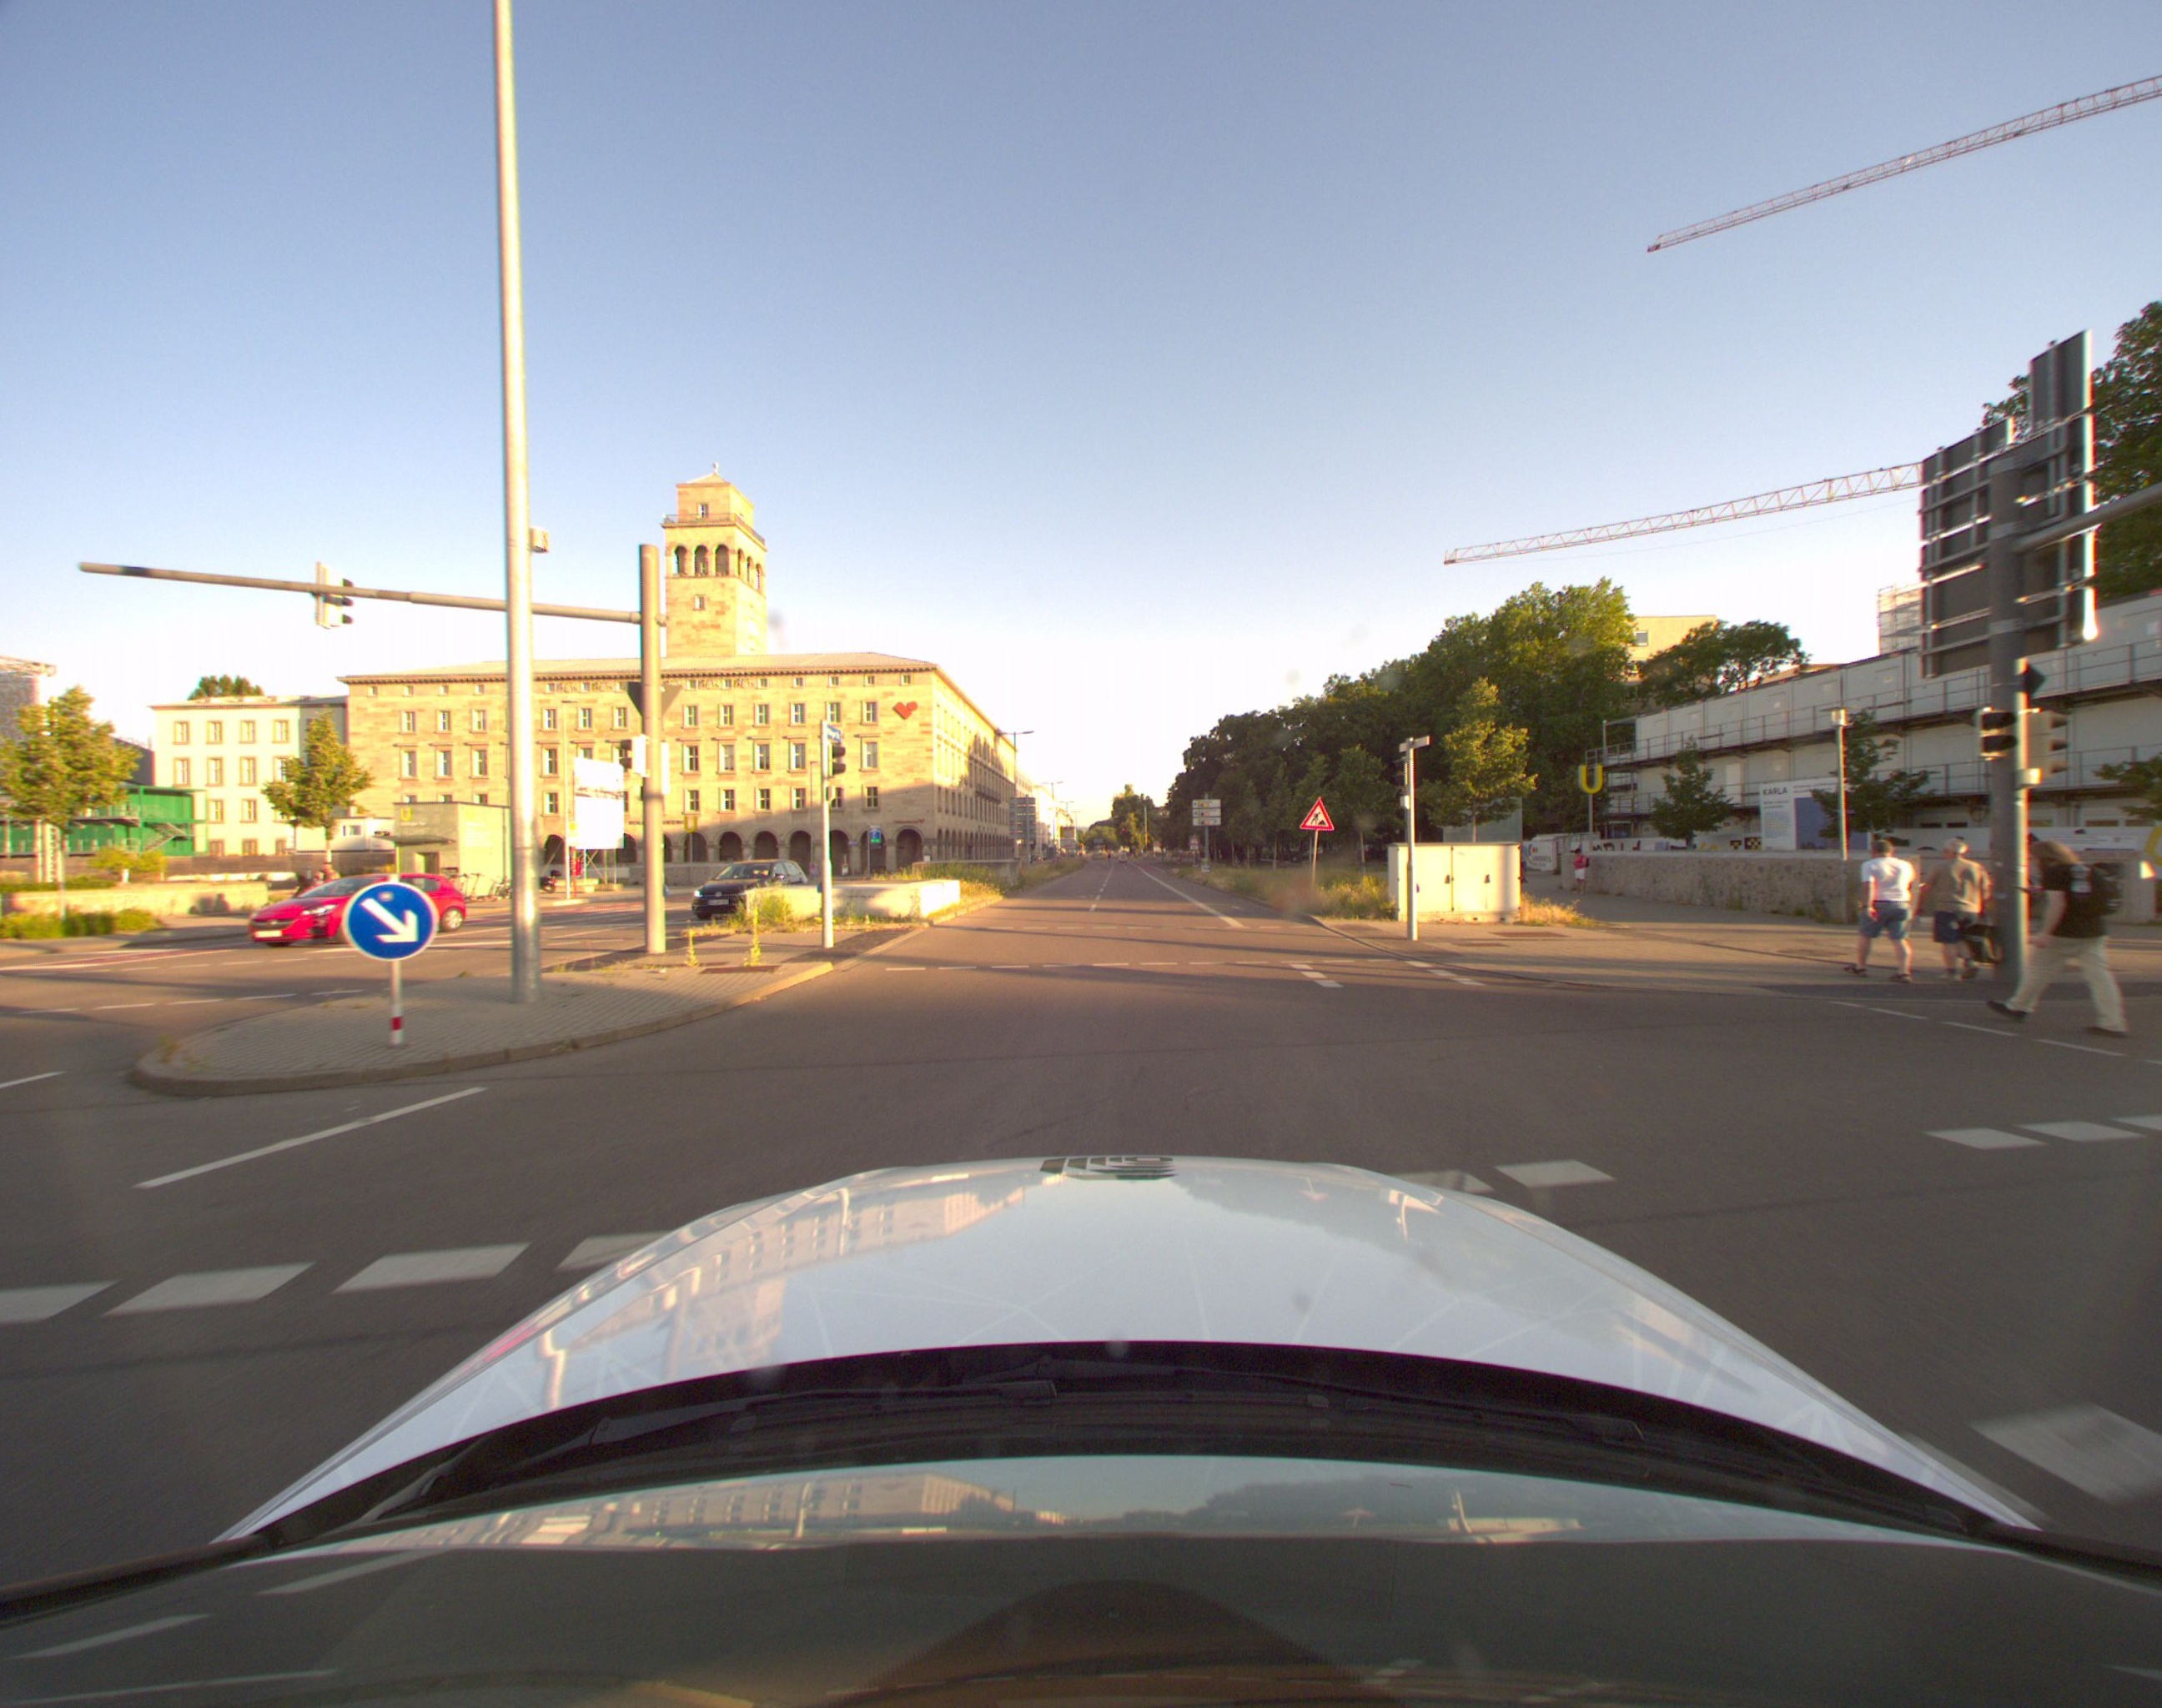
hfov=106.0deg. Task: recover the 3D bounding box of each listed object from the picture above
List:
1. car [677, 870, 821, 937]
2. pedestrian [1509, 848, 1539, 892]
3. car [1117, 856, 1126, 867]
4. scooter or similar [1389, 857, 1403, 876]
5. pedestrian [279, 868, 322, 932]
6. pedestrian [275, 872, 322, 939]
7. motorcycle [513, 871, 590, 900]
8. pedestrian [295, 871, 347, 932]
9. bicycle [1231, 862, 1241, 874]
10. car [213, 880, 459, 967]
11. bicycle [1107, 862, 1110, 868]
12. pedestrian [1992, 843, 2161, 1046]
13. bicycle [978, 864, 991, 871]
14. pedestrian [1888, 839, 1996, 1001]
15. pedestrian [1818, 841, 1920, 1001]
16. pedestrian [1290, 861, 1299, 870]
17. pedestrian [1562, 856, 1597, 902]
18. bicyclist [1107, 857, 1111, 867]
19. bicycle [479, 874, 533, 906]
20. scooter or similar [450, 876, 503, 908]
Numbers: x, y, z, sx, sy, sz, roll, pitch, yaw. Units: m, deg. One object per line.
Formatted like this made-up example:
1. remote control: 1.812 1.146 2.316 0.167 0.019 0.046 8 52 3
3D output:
1. car: -8.611 1.228 21.625 1.880 1.466 4.538 -1 0 1
2. pedestrian: 18.746 0.675 34.482 0.810 1.815 1.049 -1 1 7
3. car: 6.812 1.244 137.727 1.453 1.781 2.567 -1 0 4
4. scooter or similar: 20.936 0.802 54.152 0.422 1.220 1.399 -4 0 3
5. pedestrian: -24.235 1.407 25.309 0.656 1.933 0.648 -1 0 3
6. pedestrian: -23.406 1.521 24.377 0.628 1.933 0.776 1 1 3
7. motorcycle: -26.357 1.560 40.559 3.222 1.383 0.840 0 -1 -1
8. pedestrian: -23.536 1.459 25.233 0.868 1.837 0.776 -1 0 3
9. bicycle: 14.064 1.233 73.870 0.490 1.005 1.908 -4 -1 22
10. car: -15.910 1.403 17.732 1.629 1.526 4.000 -1 0 0
11. bicycle: 4.819 1.979 142.554 0.635 1.069 2.070 -1 0 2
12. pedestrian: 8.659 0.725 7.016 0.640 1.627 0.871 -1 1 0
13. bicycle: -13.152 1.834 111.241 0.472 1.005 2.018 -1 0 38
14. pedestrian: 10.653 0.796 10.095 0.639 1.933 0.620 -1 0 4
15. pedestrian: 9.829 0.812 10.183 0.639 1.933 0.620 -1 0 4
16. pedestrian: 22.421 1.238 85.642 0.681 0.884 0.619 -1 0 -20
17. pedestrian: 16.695 0.841 27.282 0.757 1.490 0.645 -1 1 1
18. bicyclist: 4.846 1.360 142.343 0.626 1.693 0.749 -1 -1 1
19. bicycle: -25.699 1.571 36.475 0.615 1.324 2.509 -1 0 0
20. scooter or similar: -25.595 1.594 34.470 1.832 1.305 0.422 -1 -1 -5
